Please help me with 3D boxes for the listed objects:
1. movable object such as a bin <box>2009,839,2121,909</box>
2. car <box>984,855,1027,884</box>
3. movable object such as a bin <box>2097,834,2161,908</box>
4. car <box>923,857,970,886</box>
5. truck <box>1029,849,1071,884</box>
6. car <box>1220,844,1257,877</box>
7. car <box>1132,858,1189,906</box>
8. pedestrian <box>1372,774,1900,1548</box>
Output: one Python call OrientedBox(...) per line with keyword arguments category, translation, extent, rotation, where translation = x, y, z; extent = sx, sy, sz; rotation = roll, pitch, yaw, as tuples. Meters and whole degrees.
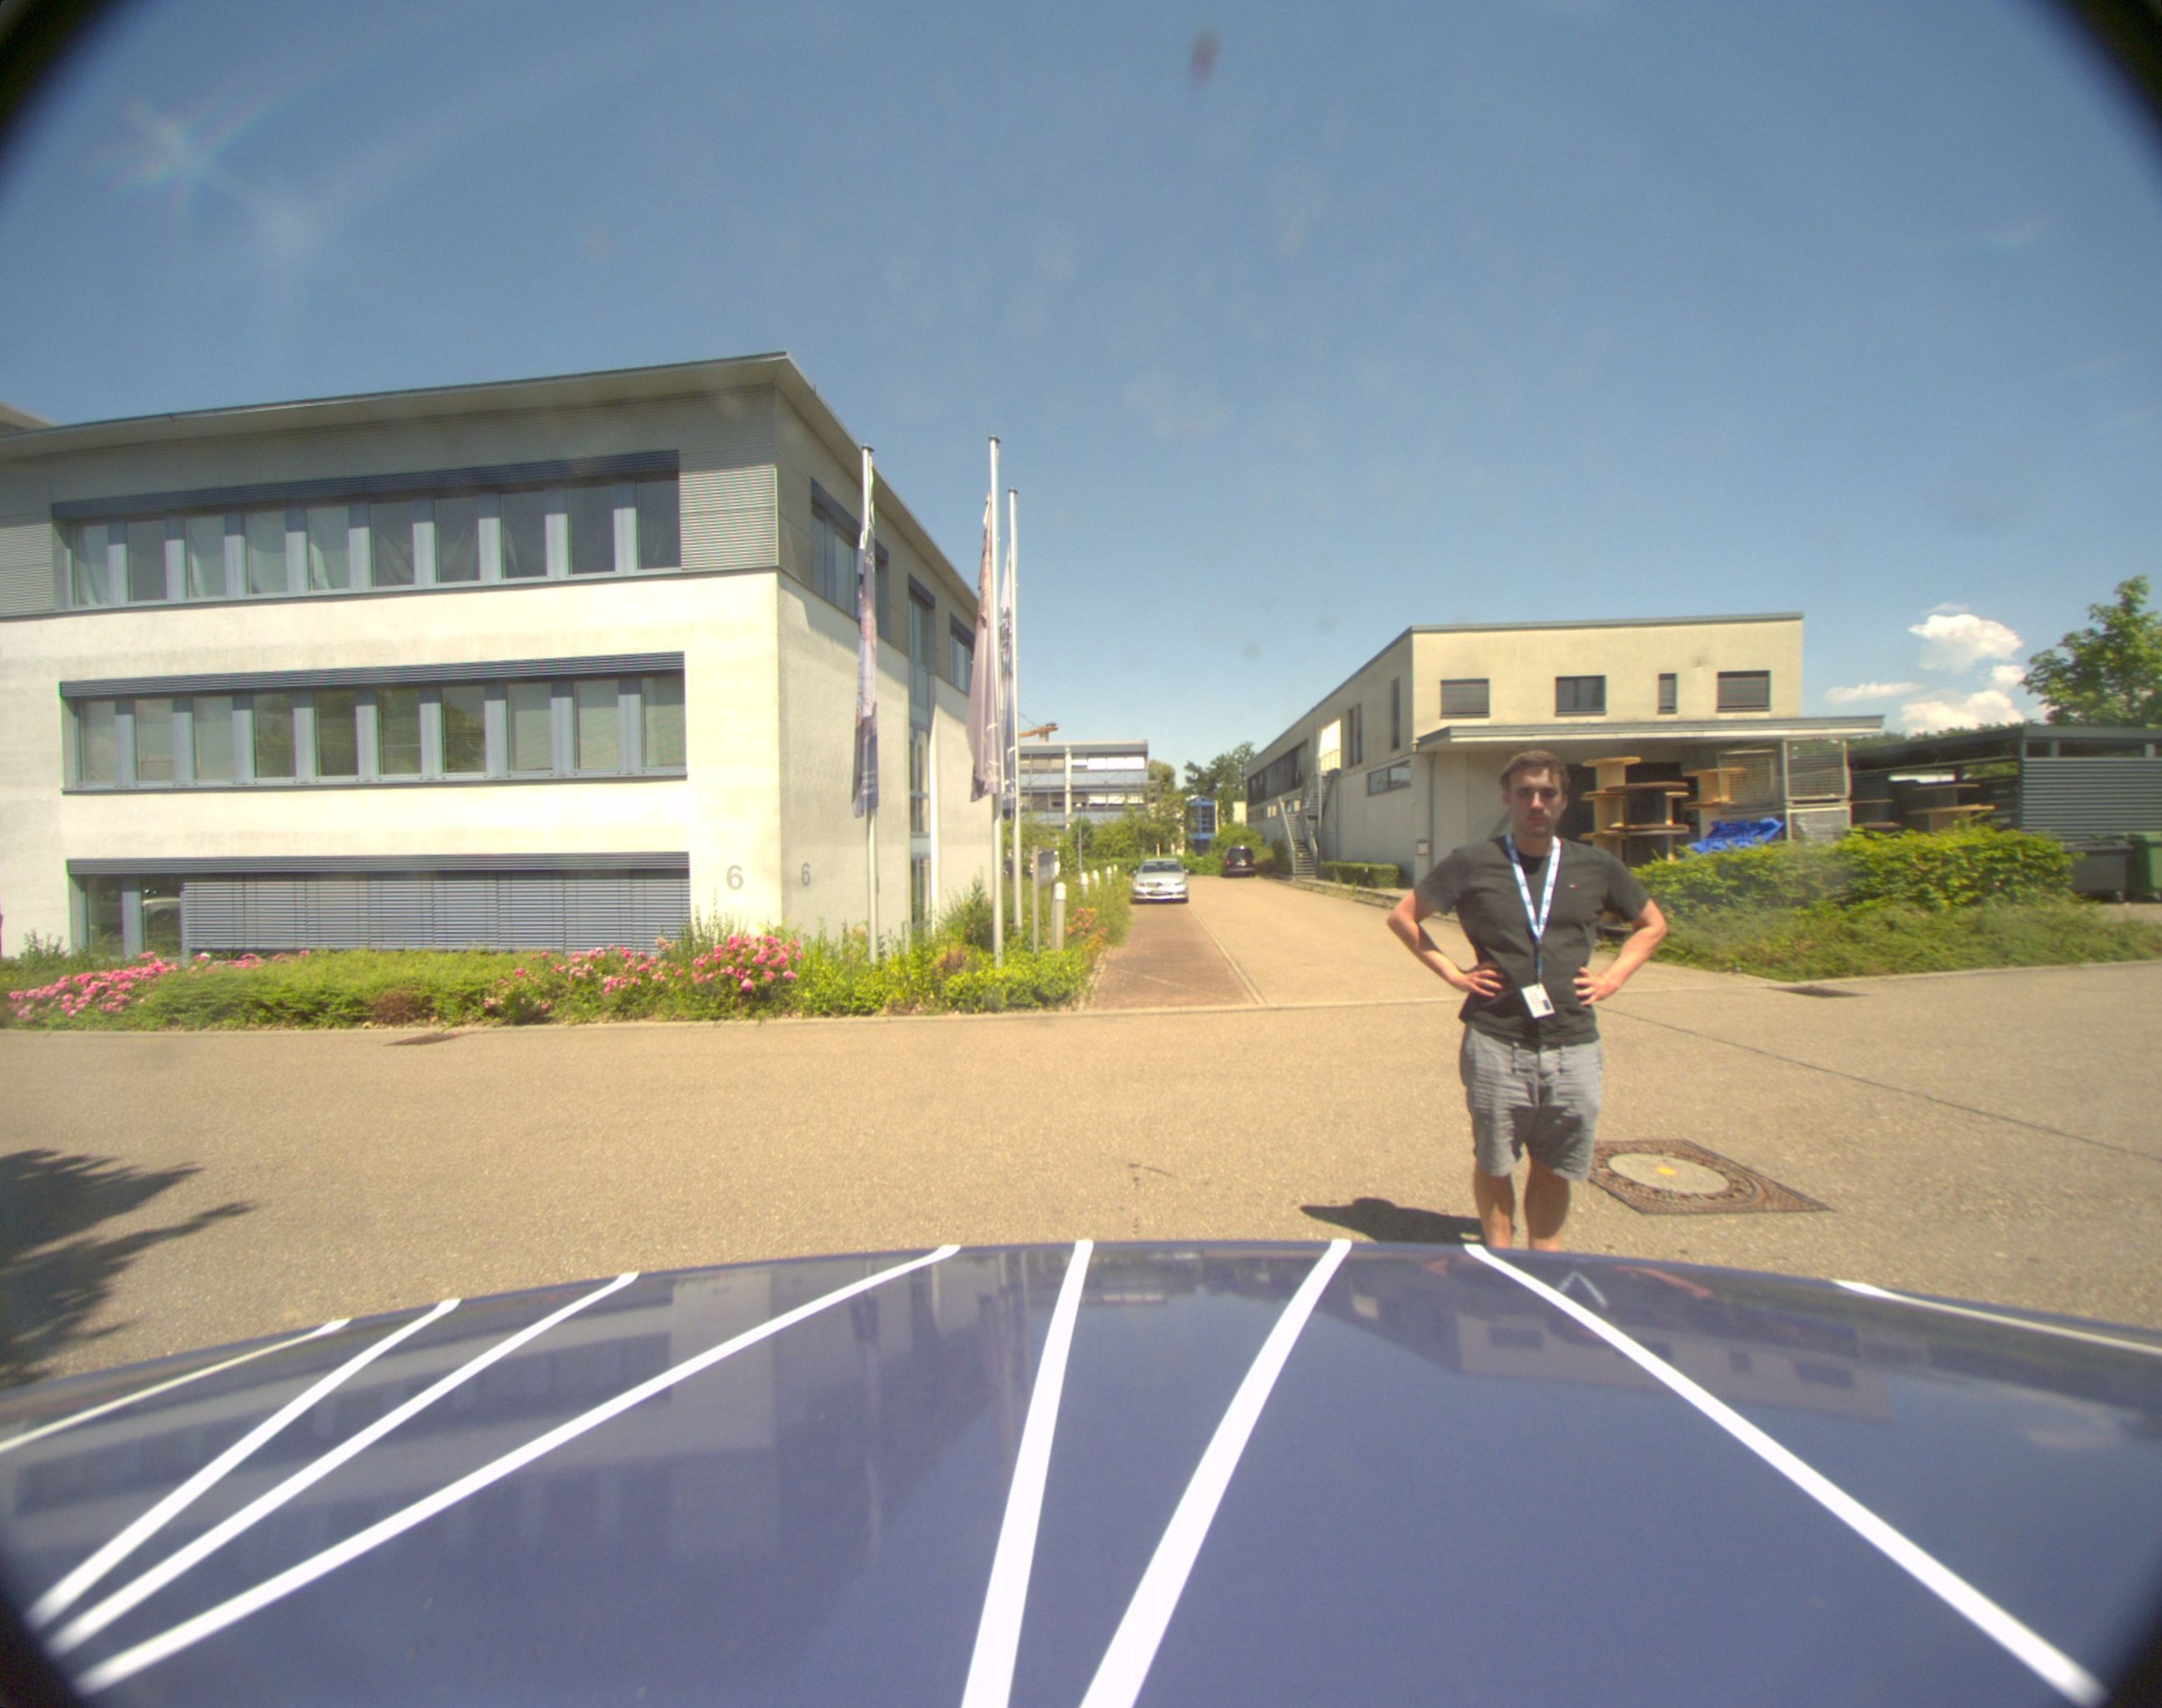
OrientedBox(category="movable object such as a bin", translation=(18.804, 0.376, 14.546), extent=(1.071, 1.264, 0.760), rotation=(-2, 1, 10))
OrientedBox(category="car", translation=(-4.557, 0.922, 46.416), extent=(1.787, 1.537, 4.001), rotation=(-2, 1, 5))
OrientedBox(category="movable object such as a bin", translation=(20.111, 0.308, 14.216), extent=(1.071, 1.329, 0.760), rotation=(-2, 1, 10))
OrientedBox(category="car", translation=(-8.218, 1.053, 46.795), extent=(1.787, 1.537, 4.001), rotation=(-2, 1, 5))
OrientedBox(category="truck", translation=(-1.797, 0.709, 45.416), extent=(1.998, 1.882, 4.001), rotation=(-2, 0, 4))
OrientedBox(category="car", translation=(9.382, 0.368, 45.410), extent=(1.786, 1.793, 4.001), rotation=(-2, 1, 7))
OrientedBox(category="car", translation=(2.724, 0.887, 25.374), extent=(1.710, 1.383, 3.813), rotation=(-1, 1, 9))
OrientedBox(category="pedestrian", translation=(1.484, 0.731, 2.244), extent=(0.860, 1.809, 0.904), rotation=(-2, 1, 1))
